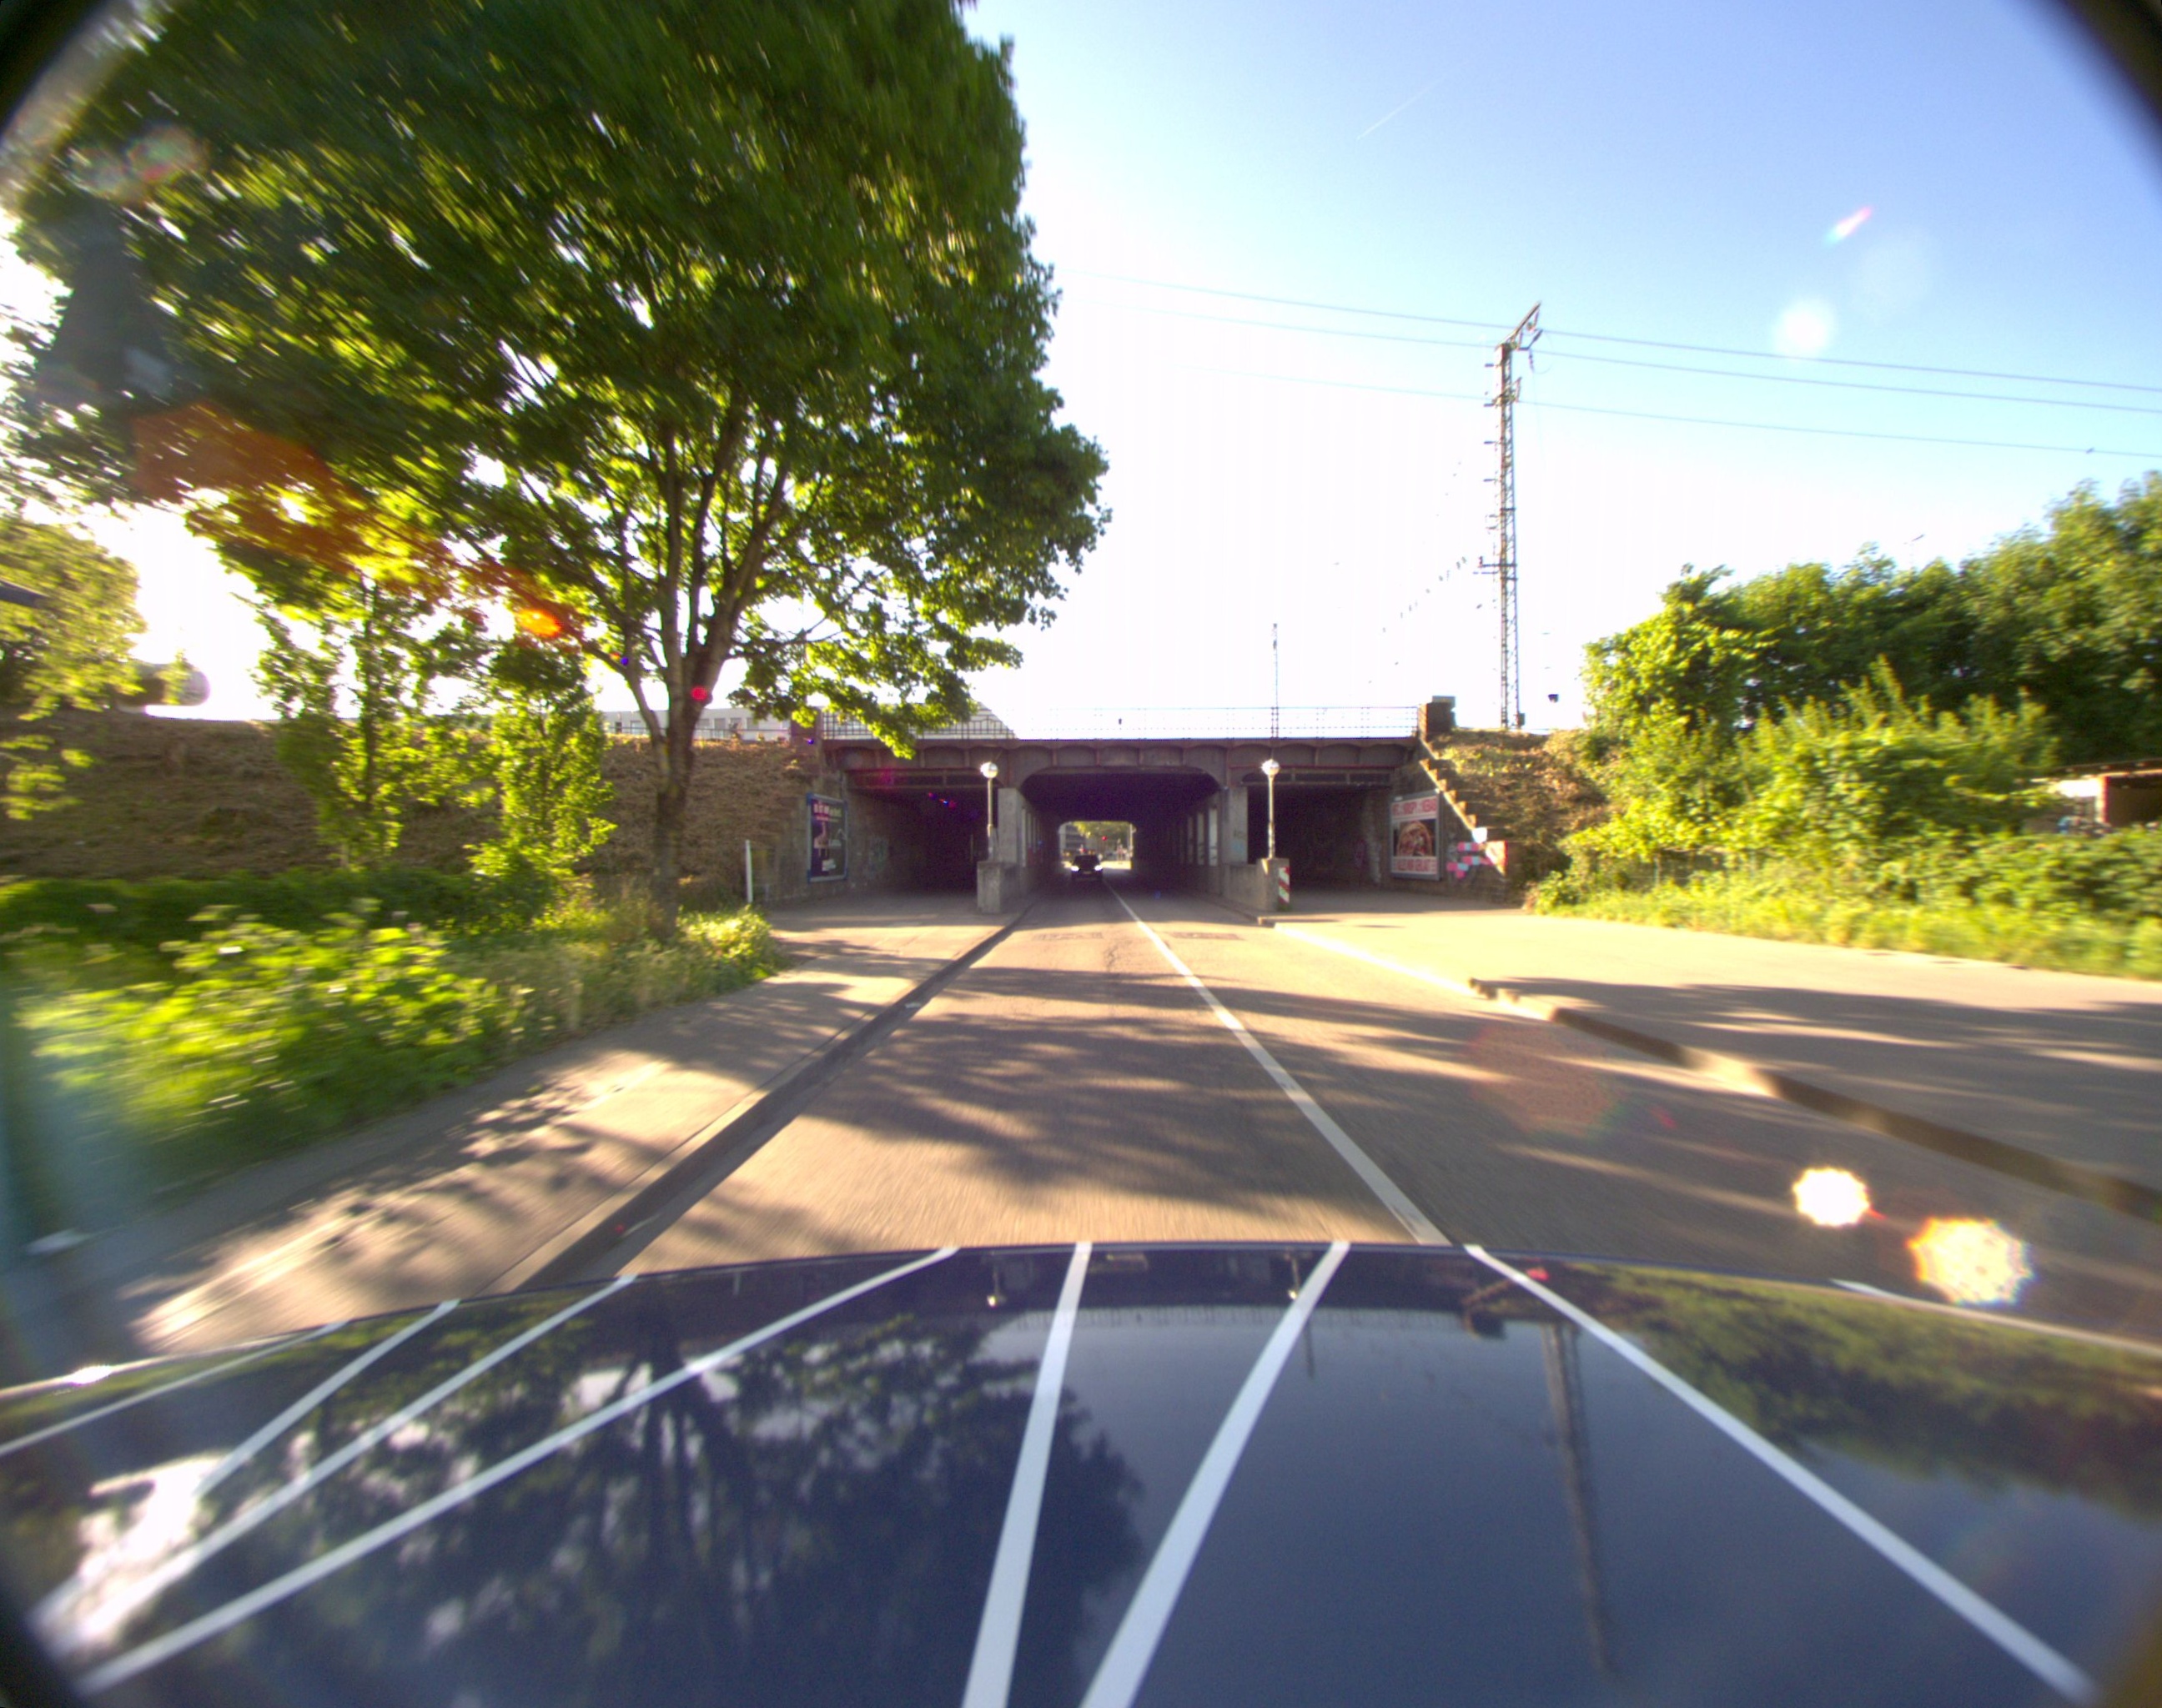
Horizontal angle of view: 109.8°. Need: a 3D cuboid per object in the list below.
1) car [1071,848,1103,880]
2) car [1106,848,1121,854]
[{"bbox_3d":[0.392,0.575,48.936,1.940,1.922,4.524,1,1,1],"label":"car"},{"bbox_3d":[9.780,-0.860,228.225,4.140,1.631,1.777,-2,2,21],"label":"car"}]
